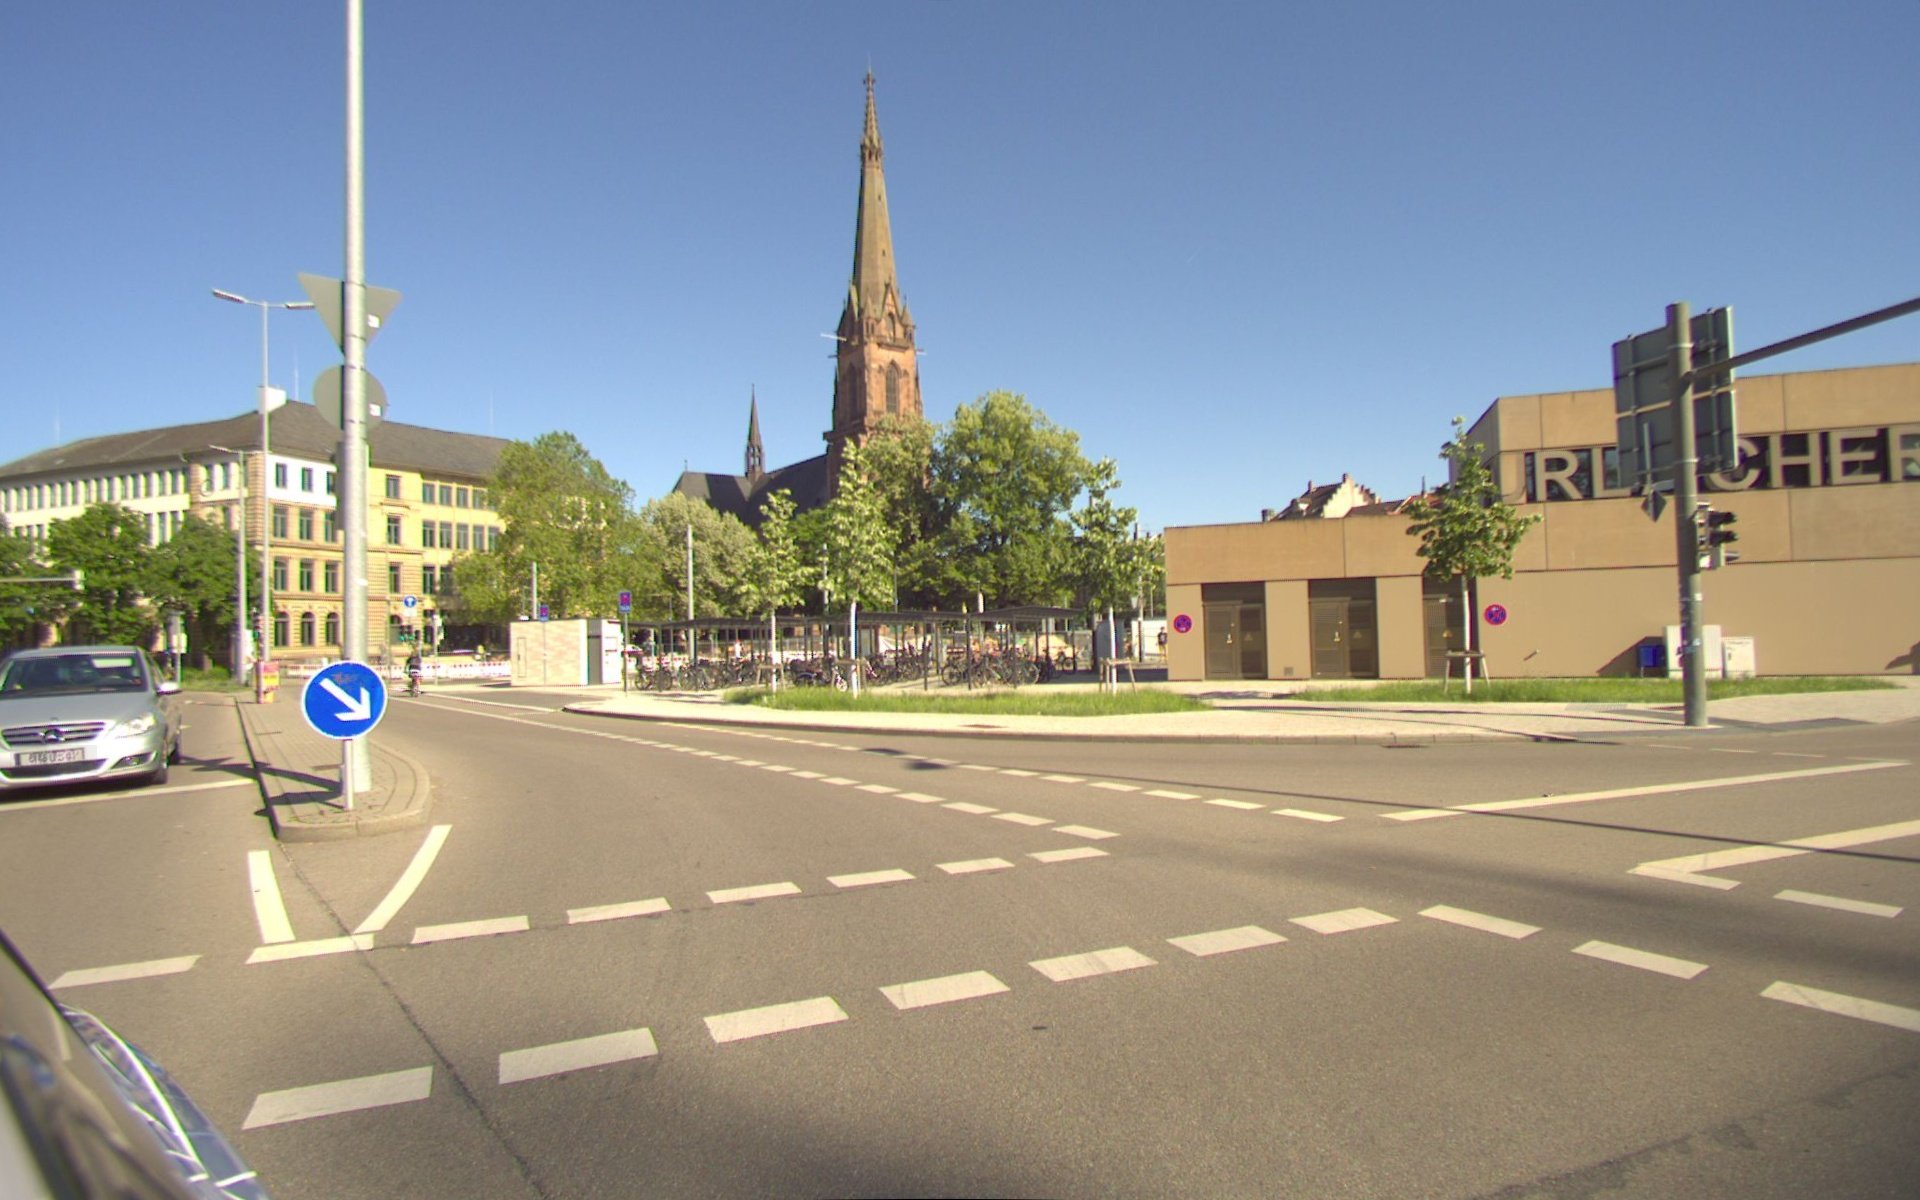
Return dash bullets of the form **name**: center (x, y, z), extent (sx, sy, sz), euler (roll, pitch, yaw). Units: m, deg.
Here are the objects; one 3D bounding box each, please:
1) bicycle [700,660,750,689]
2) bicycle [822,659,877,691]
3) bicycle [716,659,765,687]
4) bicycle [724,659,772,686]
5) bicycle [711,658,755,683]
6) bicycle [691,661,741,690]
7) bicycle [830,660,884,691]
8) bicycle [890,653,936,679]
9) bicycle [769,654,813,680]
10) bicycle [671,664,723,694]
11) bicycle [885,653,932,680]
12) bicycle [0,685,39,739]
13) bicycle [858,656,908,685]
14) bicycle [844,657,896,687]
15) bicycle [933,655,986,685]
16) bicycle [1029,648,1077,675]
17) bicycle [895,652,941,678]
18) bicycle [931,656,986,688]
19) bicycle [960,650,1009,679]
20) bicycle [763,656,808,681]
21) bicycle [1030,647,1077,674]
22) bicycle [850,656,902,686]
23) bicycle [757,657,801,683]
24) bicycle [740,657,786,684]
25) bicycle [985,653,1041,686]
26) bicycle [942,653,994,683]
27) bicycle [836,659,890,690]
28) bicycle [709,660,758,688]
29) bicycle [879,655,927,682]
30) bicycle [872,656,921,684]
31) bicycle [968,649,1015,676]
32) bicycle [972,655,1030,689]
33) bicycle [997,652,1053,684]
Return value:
- **bicycle**: center (-8.747, 2.779, 37.661), extent (1.772, 1.046, 0.565), euler (-2, -3, 17)
- **bicycle**: center (-3.733, 2.535, 34.125), extent (1.772, 1.046, 0.565), euler (-2, -3, 17)
- **bicycle**: center (-8.415, 2.813, 38.825), extent (1.772, 1.046, 0.565), euler (-2, -3, 17)
- **bicycle**: center (-8.253, 2.824, 39.402), extent (1.772, 1.046, 0.565), euler (-2, -3, 17)
- **bicycle**: center (-9.549, 2.976, 42.618), extent (1.772, 1.046, 0.565), euler (-2, -3, 17)
- **bicycle**: center (-8.943, 2.761, 37.084), extent (1.772, 1.046, 0.565), euler (-2, -3, 17)
- **bicycle**: center (-3.546, 2.580, 34.758), extent (1.772, 1.046, 0.565), euler (-2, -3, 17)
- **bicycle**: center (-1.874, 2.643, 40.607), extent (1.772, 1.046, 0.565), euler (-2, -3, 17)
- **bicycle**: center (-7.195, 2.853, 43.067), extent (1.772, 1.046, 0.565), euler (-2, -3, 17)
- **bicycle**: center (-9.320, 2.786, 35.849), extent (1.772, 1.046, 0.565), euler (-2, -3, 17)
- **bicycle**: center (-2.054, 2.619, 40.002), extent (1.772, 1.046, 0.565), euler (-2, -3, 17)
- **bicycle**: center (-22.569, 2.646, 24.069), extent (0.766, 1.174, 1.972), euler (-1, -2, -36)
- **bicycle**: center (-2.838, 2.591, 37.327), extent (1.772, 1.046, 0.565), euler (-2, -3, 17)
- **bicycle**: center (-3.217, 2.560, 36.062), extent (1.772, 1.046, 0.565), euler (-2, -3, 17)
- **bicycle**: center (-0.010, 2.443, 35.308), extent (1.772, 1.046, 0.565), euler (-2, -3, 17)
- **bicycle**: center (3.576, 2.370, 39.032), extent (1.772, 1.046, 0.565), euler (-2, -3, 17)
- **bicycle**: center (-1.704, 2.654, 41.220), extent (1.772, 1.046, 0.565), euler (-2, -3, 17)
- **bicycle**: center (-0.057, 2.414, 33.999), extent (1.772, 1.046, 0.565), euler (-2, -3, 17)
- **bicycle**: center (0.918, 2.453, 38.429), extent (1.772, 1.046, 0.565), euler (-2, -3, 17)
- **bicycle**: center (-7.325, 2.869, 42.450), extent (1.772, 1.046, 0.565), euler (-2, -3, 17)
- **bicycle**: center (3.678, 2.376, 39.739), extent (1.772, 1.046, 0.565), euler (-2, -3, 17)
- **bicycle**: center (-3.047, 2.575, 36.672), extent (1.772, 1.046, 0.565), euler (-2, -3, 17)
- **bicycle**: center (-7.486, 2.879, 41.846), extent (1.772, 1.046, 0.565), euler (-2, -3, 17)
- **bicycle**: center (-7.893, 2.827, 40.585), extent (1.772, 1.046, 0.565), euler (-2, -3, 17)
- **bicycle**: center (1.734, 2.286, 33.128), extent (1.772, 1.046, 0.565), euler (-2, -3, 17)
- **bicycle**: center (0.280, 2.441, 36.260), extent (1.772, 1.046, 0.565), euler (-2, -3, 17)
- **bicycle**: center (-3.389, 2.606, 35.338), extent (1.772, 1.046, 0.565), euler (-2, -3, 17)
- **bicycle**: center (-8.568, 2.791, 38.232), extent (1.772, 1.046, 0.565), euler (-2, -3, 17)
- **bicycle**: center (-2.232, 2.671, 39.425), extent (1.772, 1.046, 0.565), euler (-2, -3, 17)
- **bicycle**: center (-2.434, 2.669, 38.691), extent (1.772, 1.046, 0.565), euler (-2, -3, 17)
- **bicycle**: center (1.239, 2.464, 39.801), extent (1.772, 1.046, 0.565), euler (-2, -3, 17)
- **bicycle**: center (1.308, 2.289, 32.270), extent (1.772, 1.046, 0.565), euler (-2, -3, 17)
- **bicycle**: center (2.191, 2.306, 34.214), extent (1.777, 1.046, 0.563), euler (-2, -4, 24)
